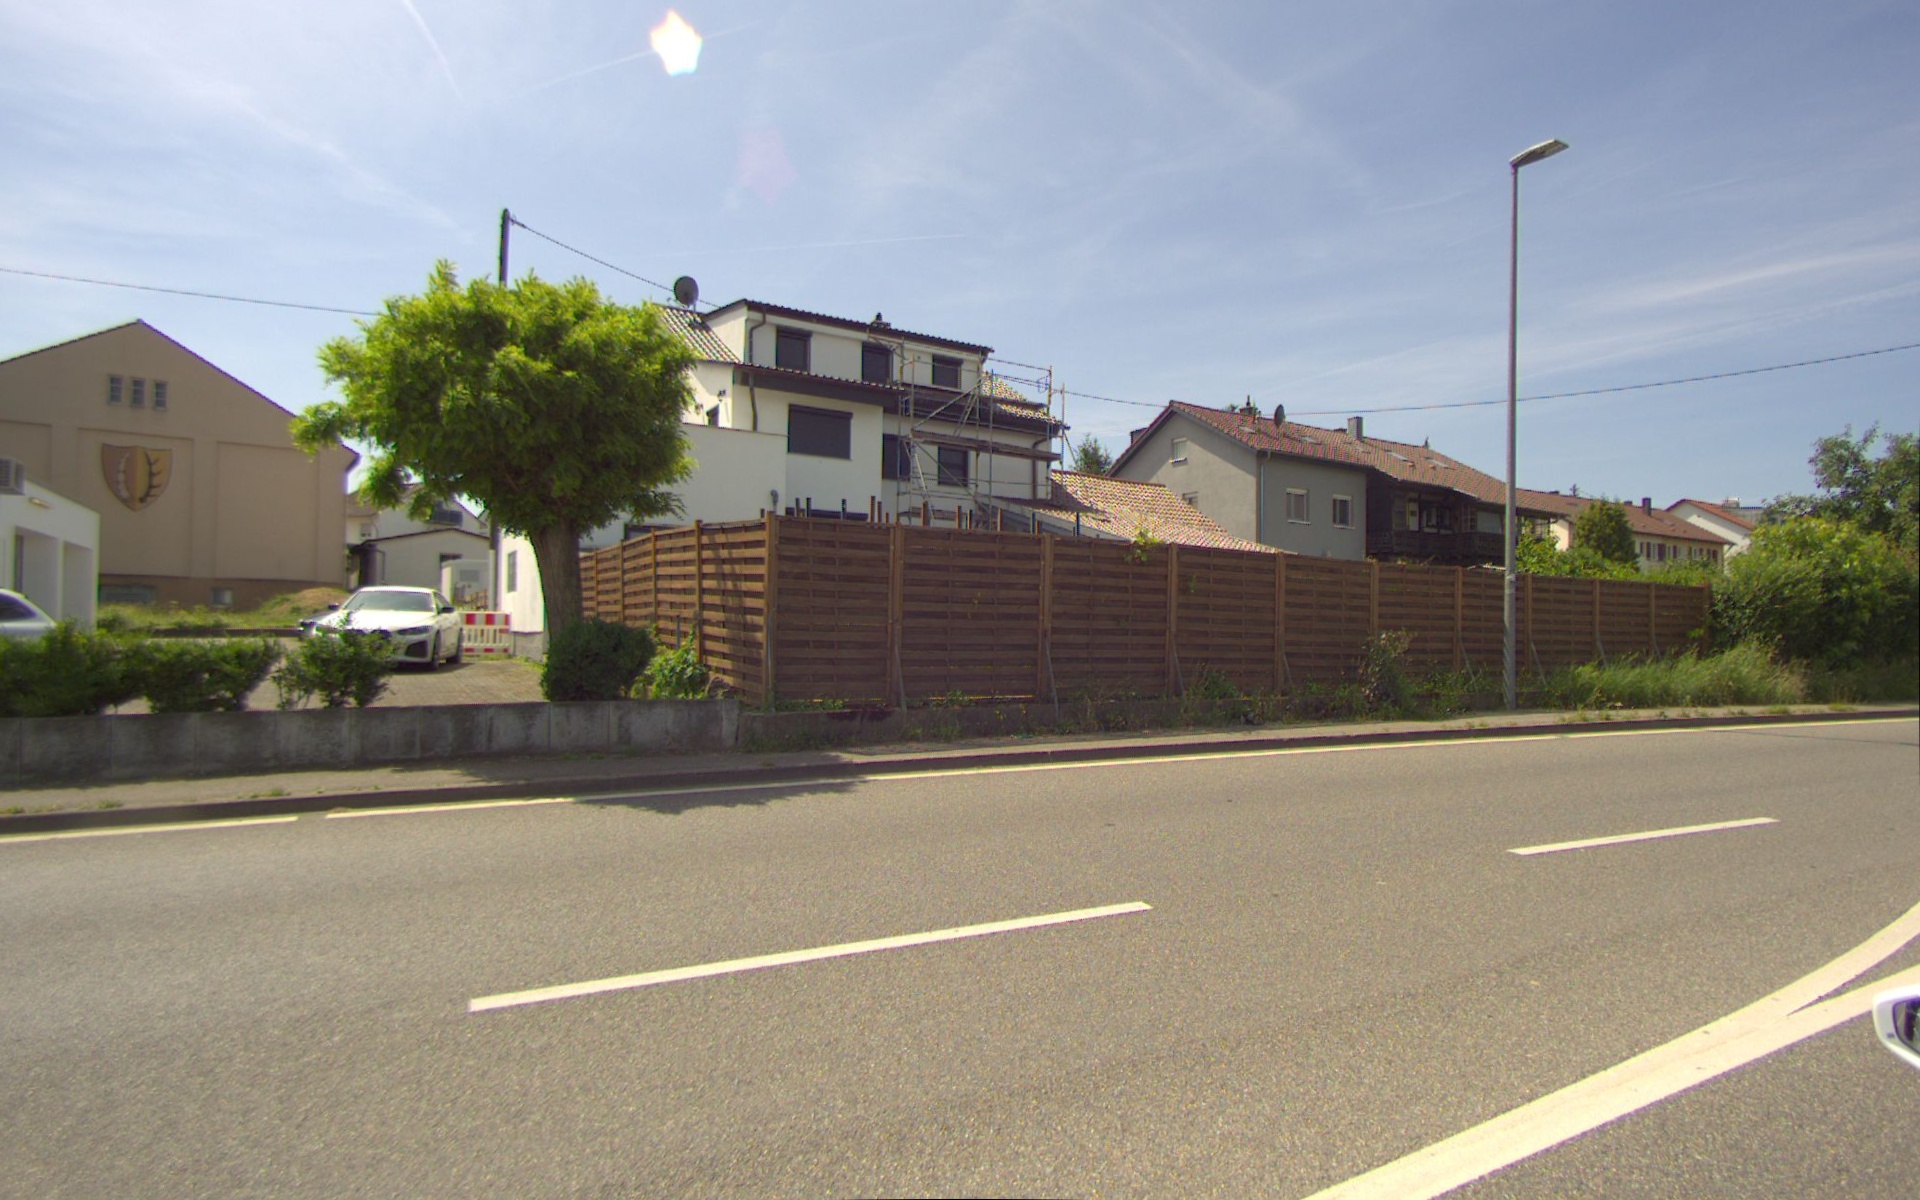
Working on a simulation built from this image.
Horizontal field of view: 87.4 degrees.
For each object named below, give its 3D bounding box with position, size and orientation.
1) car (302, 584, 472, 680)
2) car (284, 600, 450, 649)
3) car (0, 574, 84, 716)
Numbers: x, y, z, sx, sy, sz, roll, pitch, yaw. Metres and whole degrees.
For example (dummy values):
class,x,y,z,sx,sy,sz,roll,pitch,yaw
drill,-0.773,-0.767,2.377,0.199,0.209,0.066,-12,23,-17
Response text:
class,x,y,z,sx,sy,sz,roll,pitch,yaw
car,-10.173,0.517,18.160,1.805,1.530,3.985,1,0,-17
car,-17.305,0.669,29.515,1.756,1.238,3.999,2,1,20
car,-10.716,0.434,9.195,1.822,1.467,4.338,2,0,-5
